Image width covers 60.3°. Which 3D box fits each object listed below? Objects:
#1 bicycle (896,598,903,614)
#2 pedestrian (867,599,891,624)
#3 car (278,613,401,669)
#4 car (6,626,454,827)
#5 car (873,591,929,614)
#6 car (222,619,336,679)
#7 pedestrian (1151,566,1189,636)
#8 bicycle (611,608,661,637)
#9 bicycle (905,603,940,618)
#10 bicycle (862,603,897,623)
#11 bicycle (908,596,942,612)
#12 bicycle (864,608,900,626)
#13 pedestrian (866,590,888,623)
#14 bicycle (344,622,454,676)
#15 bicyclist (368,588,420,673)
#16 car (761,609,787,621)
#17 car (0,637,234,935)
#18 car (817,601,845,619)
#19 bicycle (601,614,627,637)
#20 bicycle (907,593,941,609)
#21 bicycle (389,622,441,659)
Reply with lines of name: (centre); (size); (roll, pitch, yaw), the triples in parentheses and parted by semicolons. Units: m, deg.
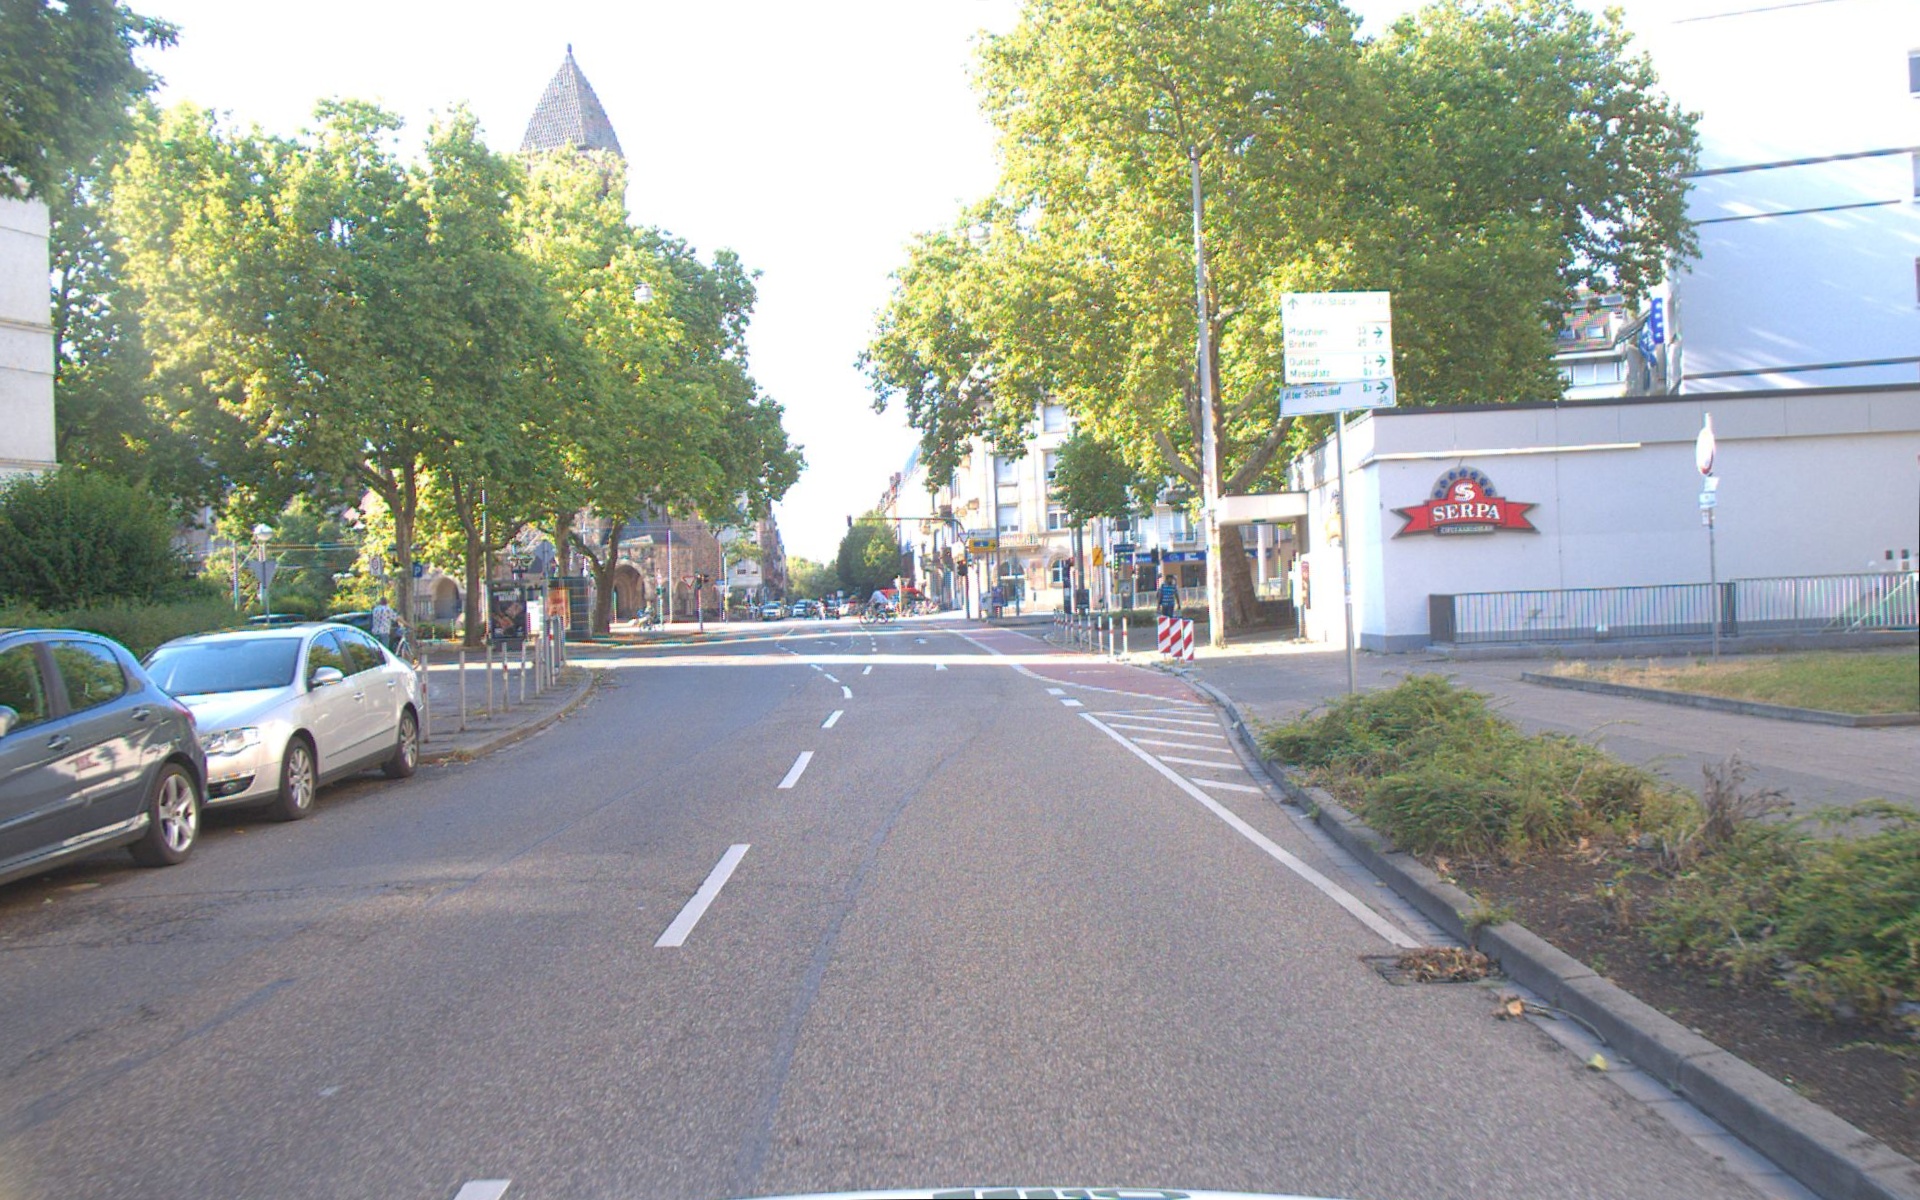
bicycle: (-4.922, 0.502, 134.195); (0.498, 1.225, 2.090); (0, -1, -3)
pedestrian: (-4.356, 0.612, 88.962); (1.026, 1.300, 0.792); (-1, -1, 18)
car: (-19.457, 1.255, 52.007); (1.713, 1.544, 3.652); (-2, 0, 17)
car: (-5.784, 0.916, 13.838); (1.733, 1.376, 4.709); (0, -1, -1)
car: (-5.390, 0.273, 152.129); (4.957, 2.049, 2.135); (0, -1, -41)
car: (-22.010, 1.553, 53.641); (1.834, 1.646, 4.002); (-2, 2, 3)
pedestrian: (6.404, 0.037, 50.448); (0.810, 2.048, 1.152); (-5, -1, -2)
bicycle: (-19.187, 1.318, 97.915); (2.781, 1.685, 0.831); (0, -1, 7)
bicycle: (-2.961, 0.851, 131.787); (2.750, 1.225, 0.509); (0, -1, -8)
bicycle: (-4.226, 0.688, 86.679); (1.748, 0.999, 0.656); (-1, -1, 25)
bicycle: (-2.822, 0.318, 133.275); (2.750, 1.225, 0.516); (0, -1, -8)
bicycle: (-4.197, 0.923, 88.930); (1.744, 0.911, 0.751); (-2, 0, 17)
pedestrian: (-4.377, 0.353, 86.749); (0.971, 1.738, 0.628); (-1, -1, 25)
bicycle: (-13.675, 1.182, 40.392); (0.990, 1.286, 2.476); (-1, -1, 33)
bicyclist: (-13.776, 0.742, 40.236); (0.957, 2.049, 0.795); (-1, -1, 34)
car: (-18.676, 1.556, 166.375); (1.560, 1.164, 3.386); (-1, -1, 14)
car: (-5.617, 0.947, 8.897); (1.669, 1.465, 4.127); (0, -1, -1)
car: (-10.963, 0.882, 140.705); (1.553, 1.488, 3.186); (-1, -1, 12)
bicycle: (-27.803, 2.055, 132.919); (1.259, 1.780, 3.999); (0, -1, 0)
bicycle: (-2.940, 0.082, 134.192); (2.750, 1.222, 0.510); (0, 11, -8)
bicycle: (-17.975, 1.319, 54.607); (0.703, 1.166, 3.291); (0, -1, -1)
